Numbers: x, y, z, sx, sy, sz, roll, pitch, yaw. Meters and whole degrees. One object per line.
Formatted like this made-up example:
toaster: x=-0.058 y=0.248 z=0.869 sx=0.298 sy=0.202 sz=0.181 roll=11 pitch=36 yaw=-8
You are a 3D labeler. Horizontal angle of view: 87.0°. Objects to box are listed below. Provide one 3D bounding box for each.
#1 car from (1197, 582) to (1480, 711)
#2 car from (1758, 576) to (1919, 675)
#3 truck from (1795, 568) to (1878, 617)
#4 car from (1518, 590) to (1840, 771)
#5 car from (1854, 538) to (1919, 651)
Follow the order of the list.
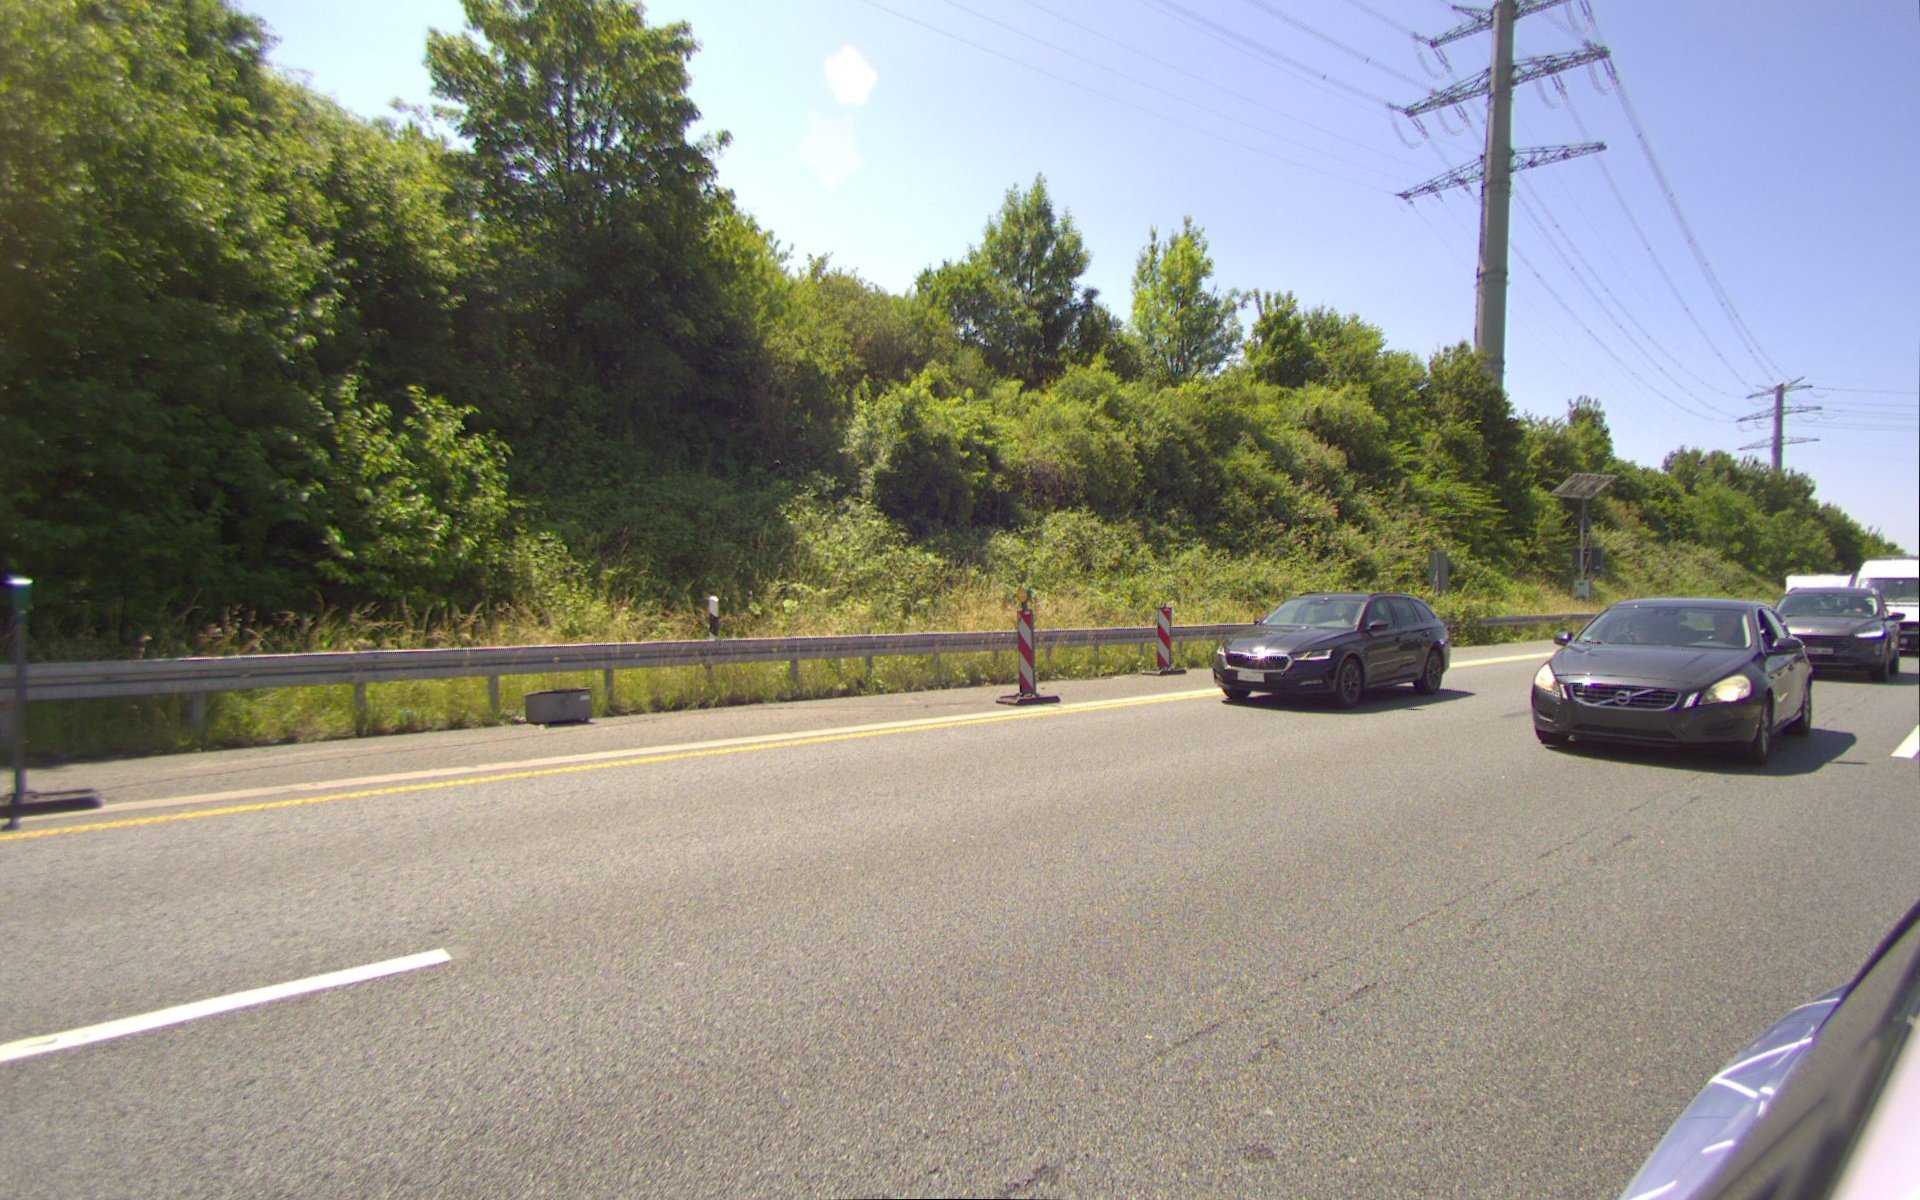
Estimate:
car: x=5.469 y=0.525 z=14.260 sx=4.772 sy=1.531 sz=1.793 roll=-1 pitch=0 yaw=-43
car: x=16.498 y=0.401 z=18.898 sx=4.148 sy=1.631 sz=1.891 roll=-1 pitch=0 yaw=-43
truck: x=41.096 y=-0.360 z=47.408 sx=5.631 sy=2.195 sz=2.251 roll=-1 pitch=0 yaw=-42
car: x=7.455 y=0.628 z=10.305 sx=4.433 sy=1.437 sz=1.797 roll=-1 pitch=0 yaw=-43
car: x=25.652 y=-0.158 z=27.008 sx=6.592 sy=2.753 sz=2.039 roll=-1 pitch=0 yaw=-43
